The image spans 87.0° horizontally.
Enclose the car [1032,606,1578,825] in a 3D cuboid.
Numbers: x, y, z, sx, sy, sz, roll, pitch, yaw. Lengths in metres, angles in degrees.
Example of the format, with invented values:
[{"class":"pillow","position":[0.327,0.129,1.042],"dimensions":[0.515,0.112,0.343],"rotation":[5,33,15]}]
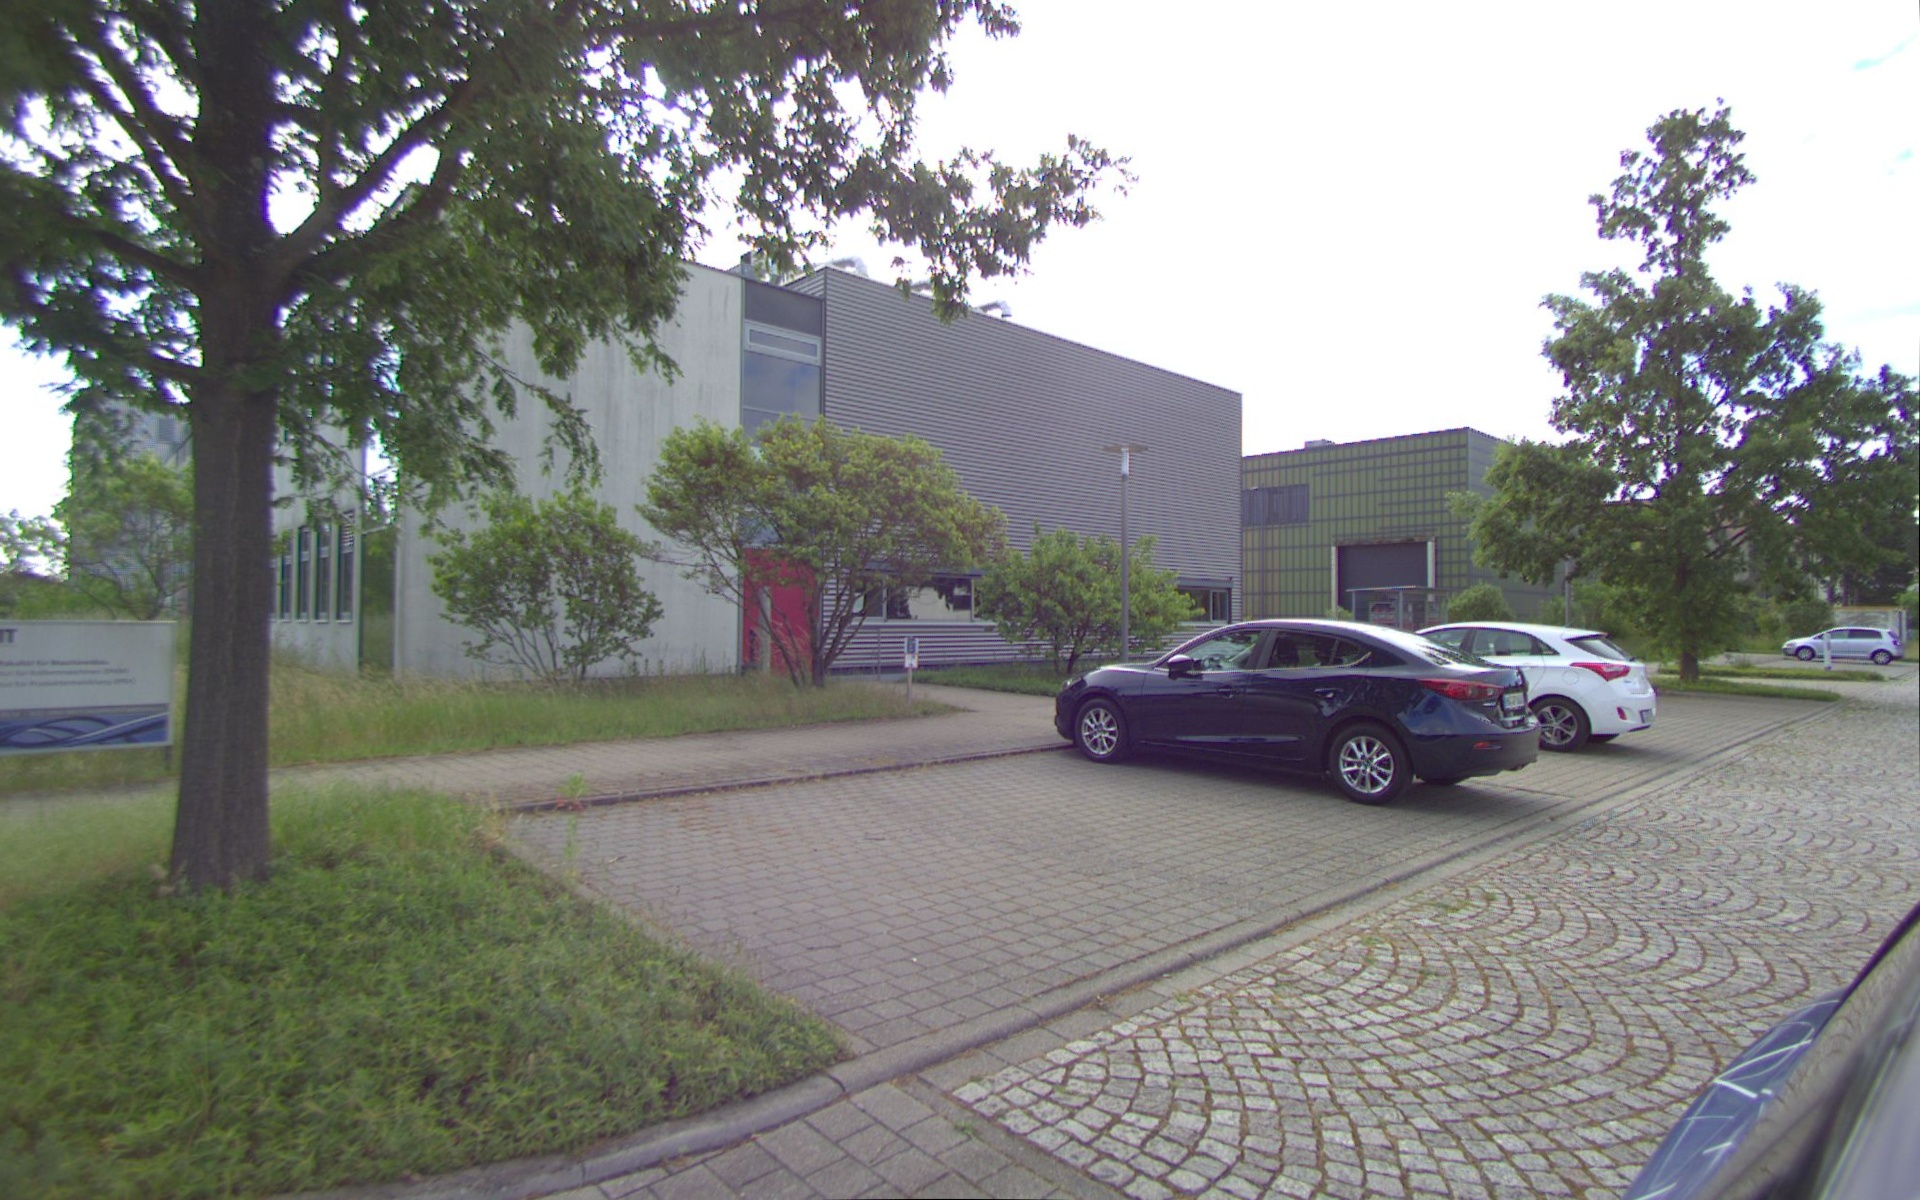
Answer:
[{"class":"car","position":[2.967,0.838,9.467],"dimensions":[1.911,1.465,4.468],"rotation":[1,0,-43]}]

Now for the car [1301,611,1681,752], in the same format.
[{"class":"car","position":[6.709,0.912,13.072],"dimensions":[1.851,1.485,3.979],"rotation":[2,-1,-43]}]

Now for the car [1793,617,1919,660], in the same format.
[{"class":"car","position":[39.399,1.659,44.495],"dimensions":[4.123,1.645,1.908],"rotation":[2,1,45]}]
